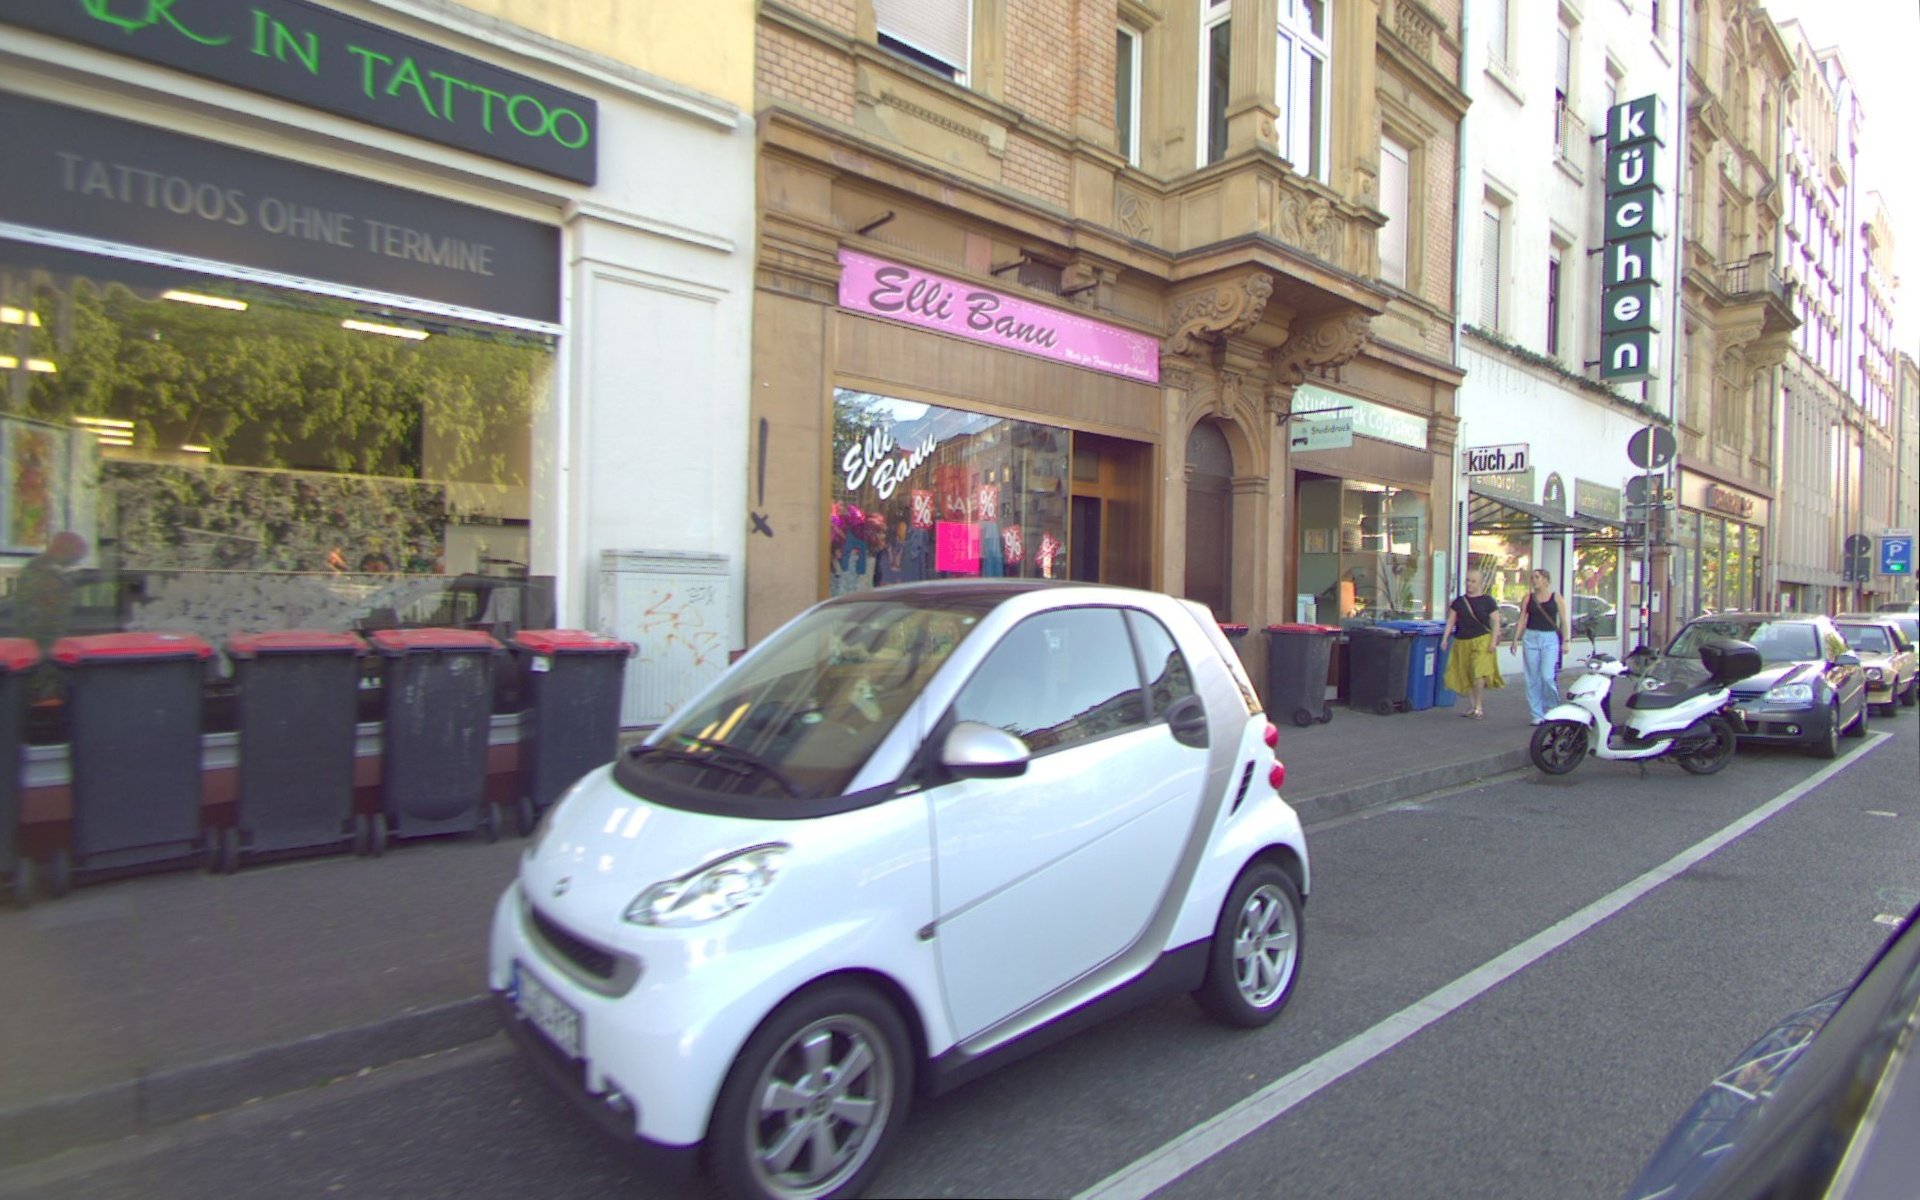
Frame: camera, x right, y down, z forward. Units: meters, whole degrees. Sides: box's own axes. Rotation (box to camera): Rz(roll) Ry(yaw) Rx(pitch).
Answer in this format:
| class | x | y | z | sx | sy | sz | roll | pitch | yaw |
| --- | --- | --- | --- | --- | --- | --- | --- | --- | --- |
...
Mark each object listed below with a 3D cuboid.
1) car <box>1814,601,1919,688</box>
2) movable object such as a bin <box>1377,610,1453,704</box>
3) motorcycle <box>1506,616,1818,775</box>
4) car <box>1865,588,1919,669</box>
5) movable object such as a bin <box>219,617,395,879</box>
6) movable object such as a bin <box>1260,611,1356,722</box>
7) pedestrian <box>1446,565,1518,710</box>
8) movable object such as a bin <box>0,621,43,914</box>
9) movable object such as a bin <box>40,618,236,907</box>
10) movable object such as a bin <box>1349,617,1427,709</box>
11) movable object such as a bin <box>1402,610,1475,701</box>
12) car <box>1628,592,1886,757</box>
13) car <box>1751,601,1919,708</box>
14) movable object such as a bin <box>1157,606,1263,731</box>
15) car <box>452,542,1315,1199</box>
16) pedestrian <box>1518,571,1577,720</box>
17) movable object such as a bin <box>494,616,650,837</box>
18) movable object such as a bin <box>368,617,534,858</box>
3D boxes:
| class | x | y | z | sx | sy | sz | roll | pitch | yaw |
| --- | --- | --- | --- | --- | --- | --- | --- | --- | --- |
| car | 17.056 | 0.739 | 18.442 | 3.735 | 1.435 | 1.736 | 0 | 0 | -41 |
| movable object such as a bin | 5.636 | 0.687 | 12.538 | 0.608 | 1.086 | 0.606 | 1 | 3 | -40 |
| motorcycle | 6.241 | 0.818 | 9.125 | 2.137 | 1.296 | 0.866 | 1 | 0 | 8 |
| car | 21.939 | 0.611 | 22.761 | 3.978 | 1.711 | 1.894 | 0 | 0 | -41 |
| movable object such as a bin | -3.073 | 0.642 | 4.757 | 0.608 | 1.079 | 0.606 | 1 | 3 | -40 |
| movable object such as a bin | 3.733 | 0.688 | 10.856 | 0.608 | 1.084 | 0.716 | 1 | 3 | -40 |
| pedestrian | 6.210 | 0.430 | 12.038 | 0.616 | 1.653 | 0.456 | 3 | 2 | 40 |
| movable object such as a bin | -4.024 | 0.646 | 3.962 | 0.608 | 1.079 | 0.606 | 1 | 3 | -40 |
| movable object such as a bin | -3.533 | 0.644 | 4.366 | 0.608 | 1.079 | 0.606 | 1 | 3 | -40 |
| movable object such as a bin | 5.118 | 0.735 | 12.111 | 0.608 | 1.004 | 0.606 | 1 | 3 | -40 |
| movable object such as a bin | 6.126 | 0.690 | 12.962 | 0.608 | 1.086 | 0.606 | 1 | 3 | -40 |
| car | 9.192 | 0.700 | 11.544 | 4.095 | 1.537 | 1.735 | 0 | 0 | -43 |
| car | 13.717 | 0.738 | 15.595 | 3.735 | 1.435 | 1.736 | 0 | 0 | -41 |
| movable object such as a bin | 2.383 | 0.628 | 9.674 | 0.608 | 1.084 | 0.716 | 1 | 3 | -40 |
| car | -0.081 | 0.647 | 3.473 | 2.746 | 1.537 | 1.274 | 0 | 0 | -41 |
| pedestrian | 6.685 | 0.499 | 11.508 | 0.513 | 1.653 | 0.408 | 0 | 0 | 41 |
| movable object such as a bin | -2.137 | 0.651 | 5.567 | 0.608 | 1.079 | 0.606 | 1 | 3 | -40 |
| movable object such as a bin | -2.599 | 0.653 | 5.160 | 0.608 | 1.079 | 0.606 | 1 | 3 | -40 |
